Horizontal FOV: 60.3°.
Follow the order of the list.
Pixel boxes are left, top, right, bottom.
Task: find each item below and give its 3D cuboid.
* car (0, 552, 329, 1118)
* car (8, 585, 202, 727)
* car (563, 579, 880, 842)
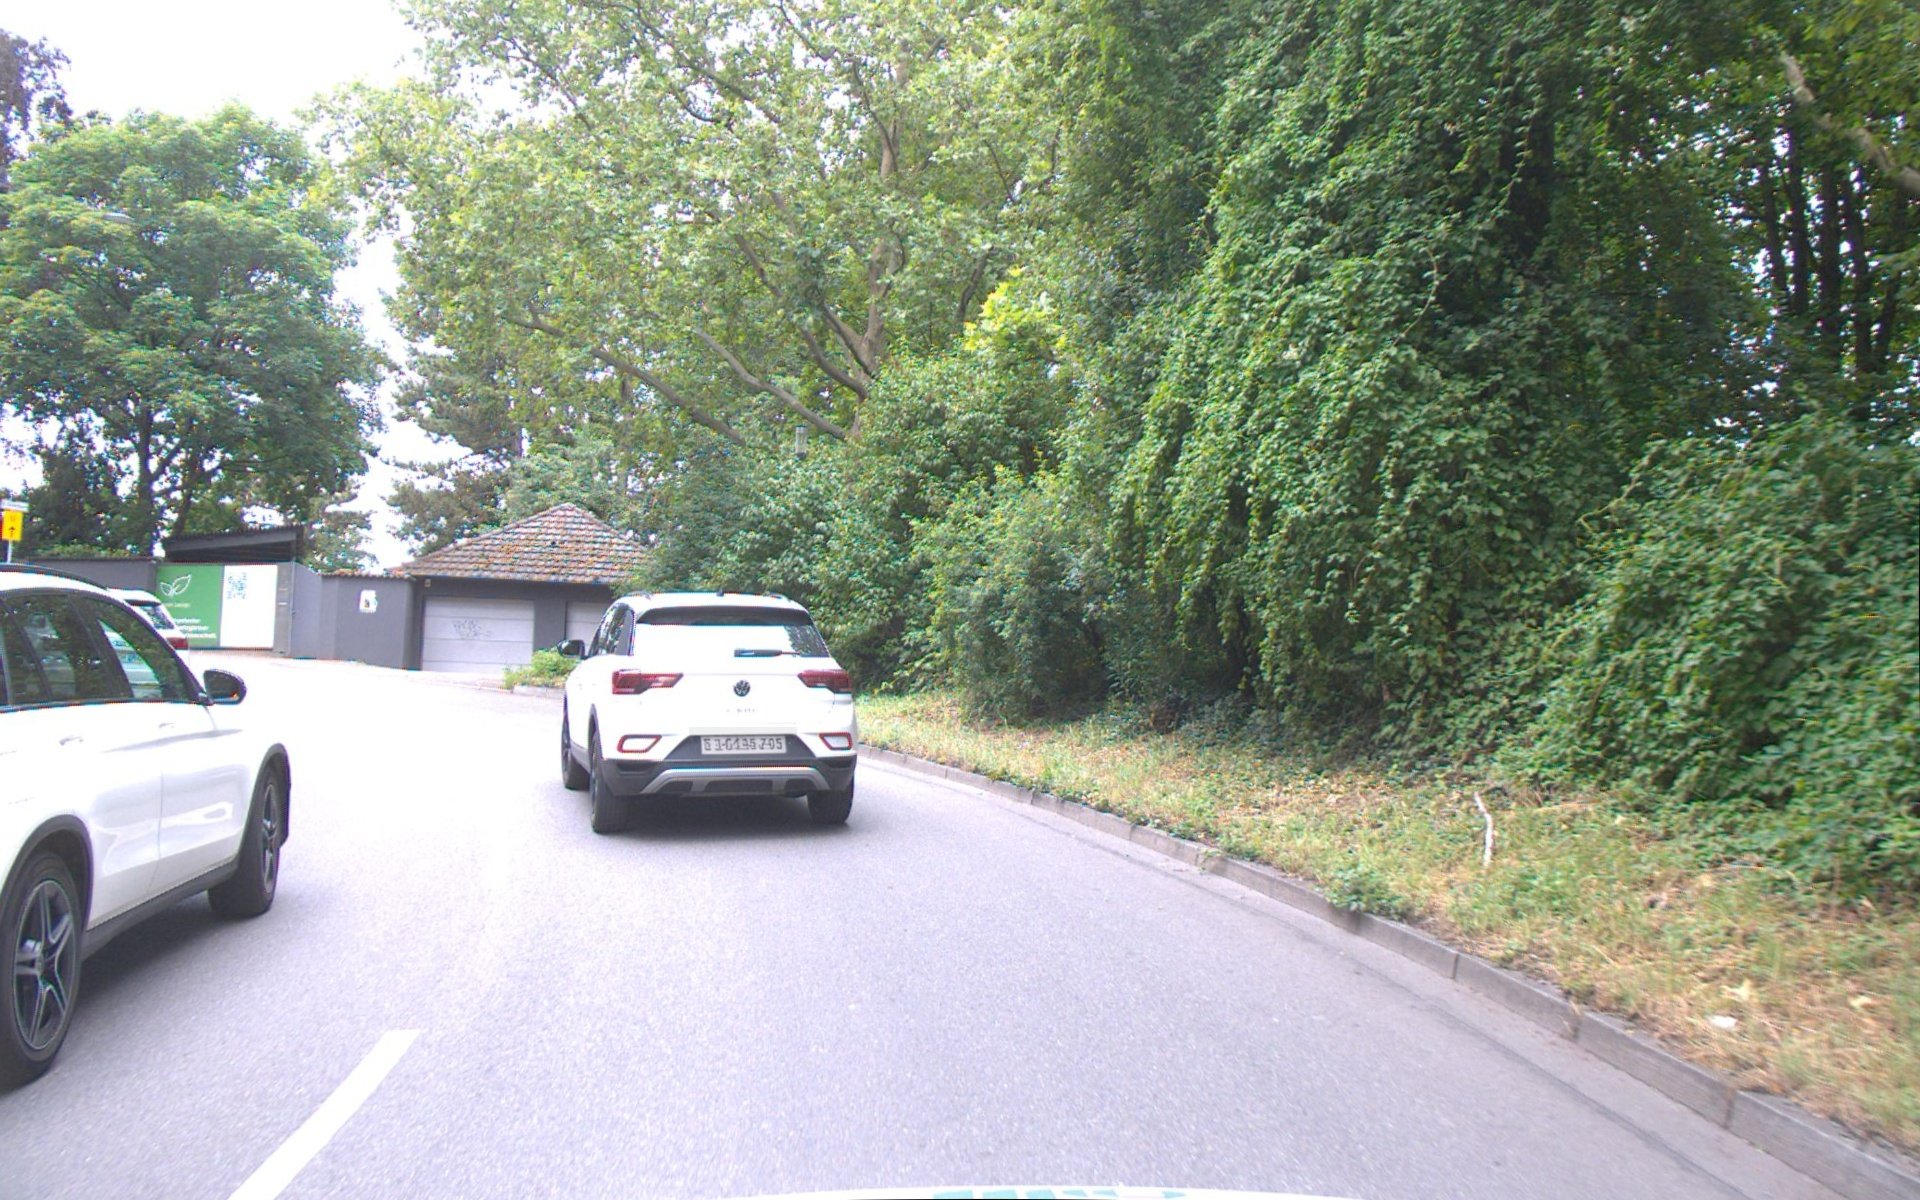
[{"bbox_3d":[-3.939,0.693,6.391,1.824,1.634,4.661,-1,0,-9],"label":"car"},{"bbox_3d":[-10.913,0.606,20.938,1.847,1.561,4.725,0,0,-32],"label":"car"},{"bbox_3d":[-1.965,0.650,12.422,1.726,1.580,4.317,-1,1,-17],"label":"car"}]
